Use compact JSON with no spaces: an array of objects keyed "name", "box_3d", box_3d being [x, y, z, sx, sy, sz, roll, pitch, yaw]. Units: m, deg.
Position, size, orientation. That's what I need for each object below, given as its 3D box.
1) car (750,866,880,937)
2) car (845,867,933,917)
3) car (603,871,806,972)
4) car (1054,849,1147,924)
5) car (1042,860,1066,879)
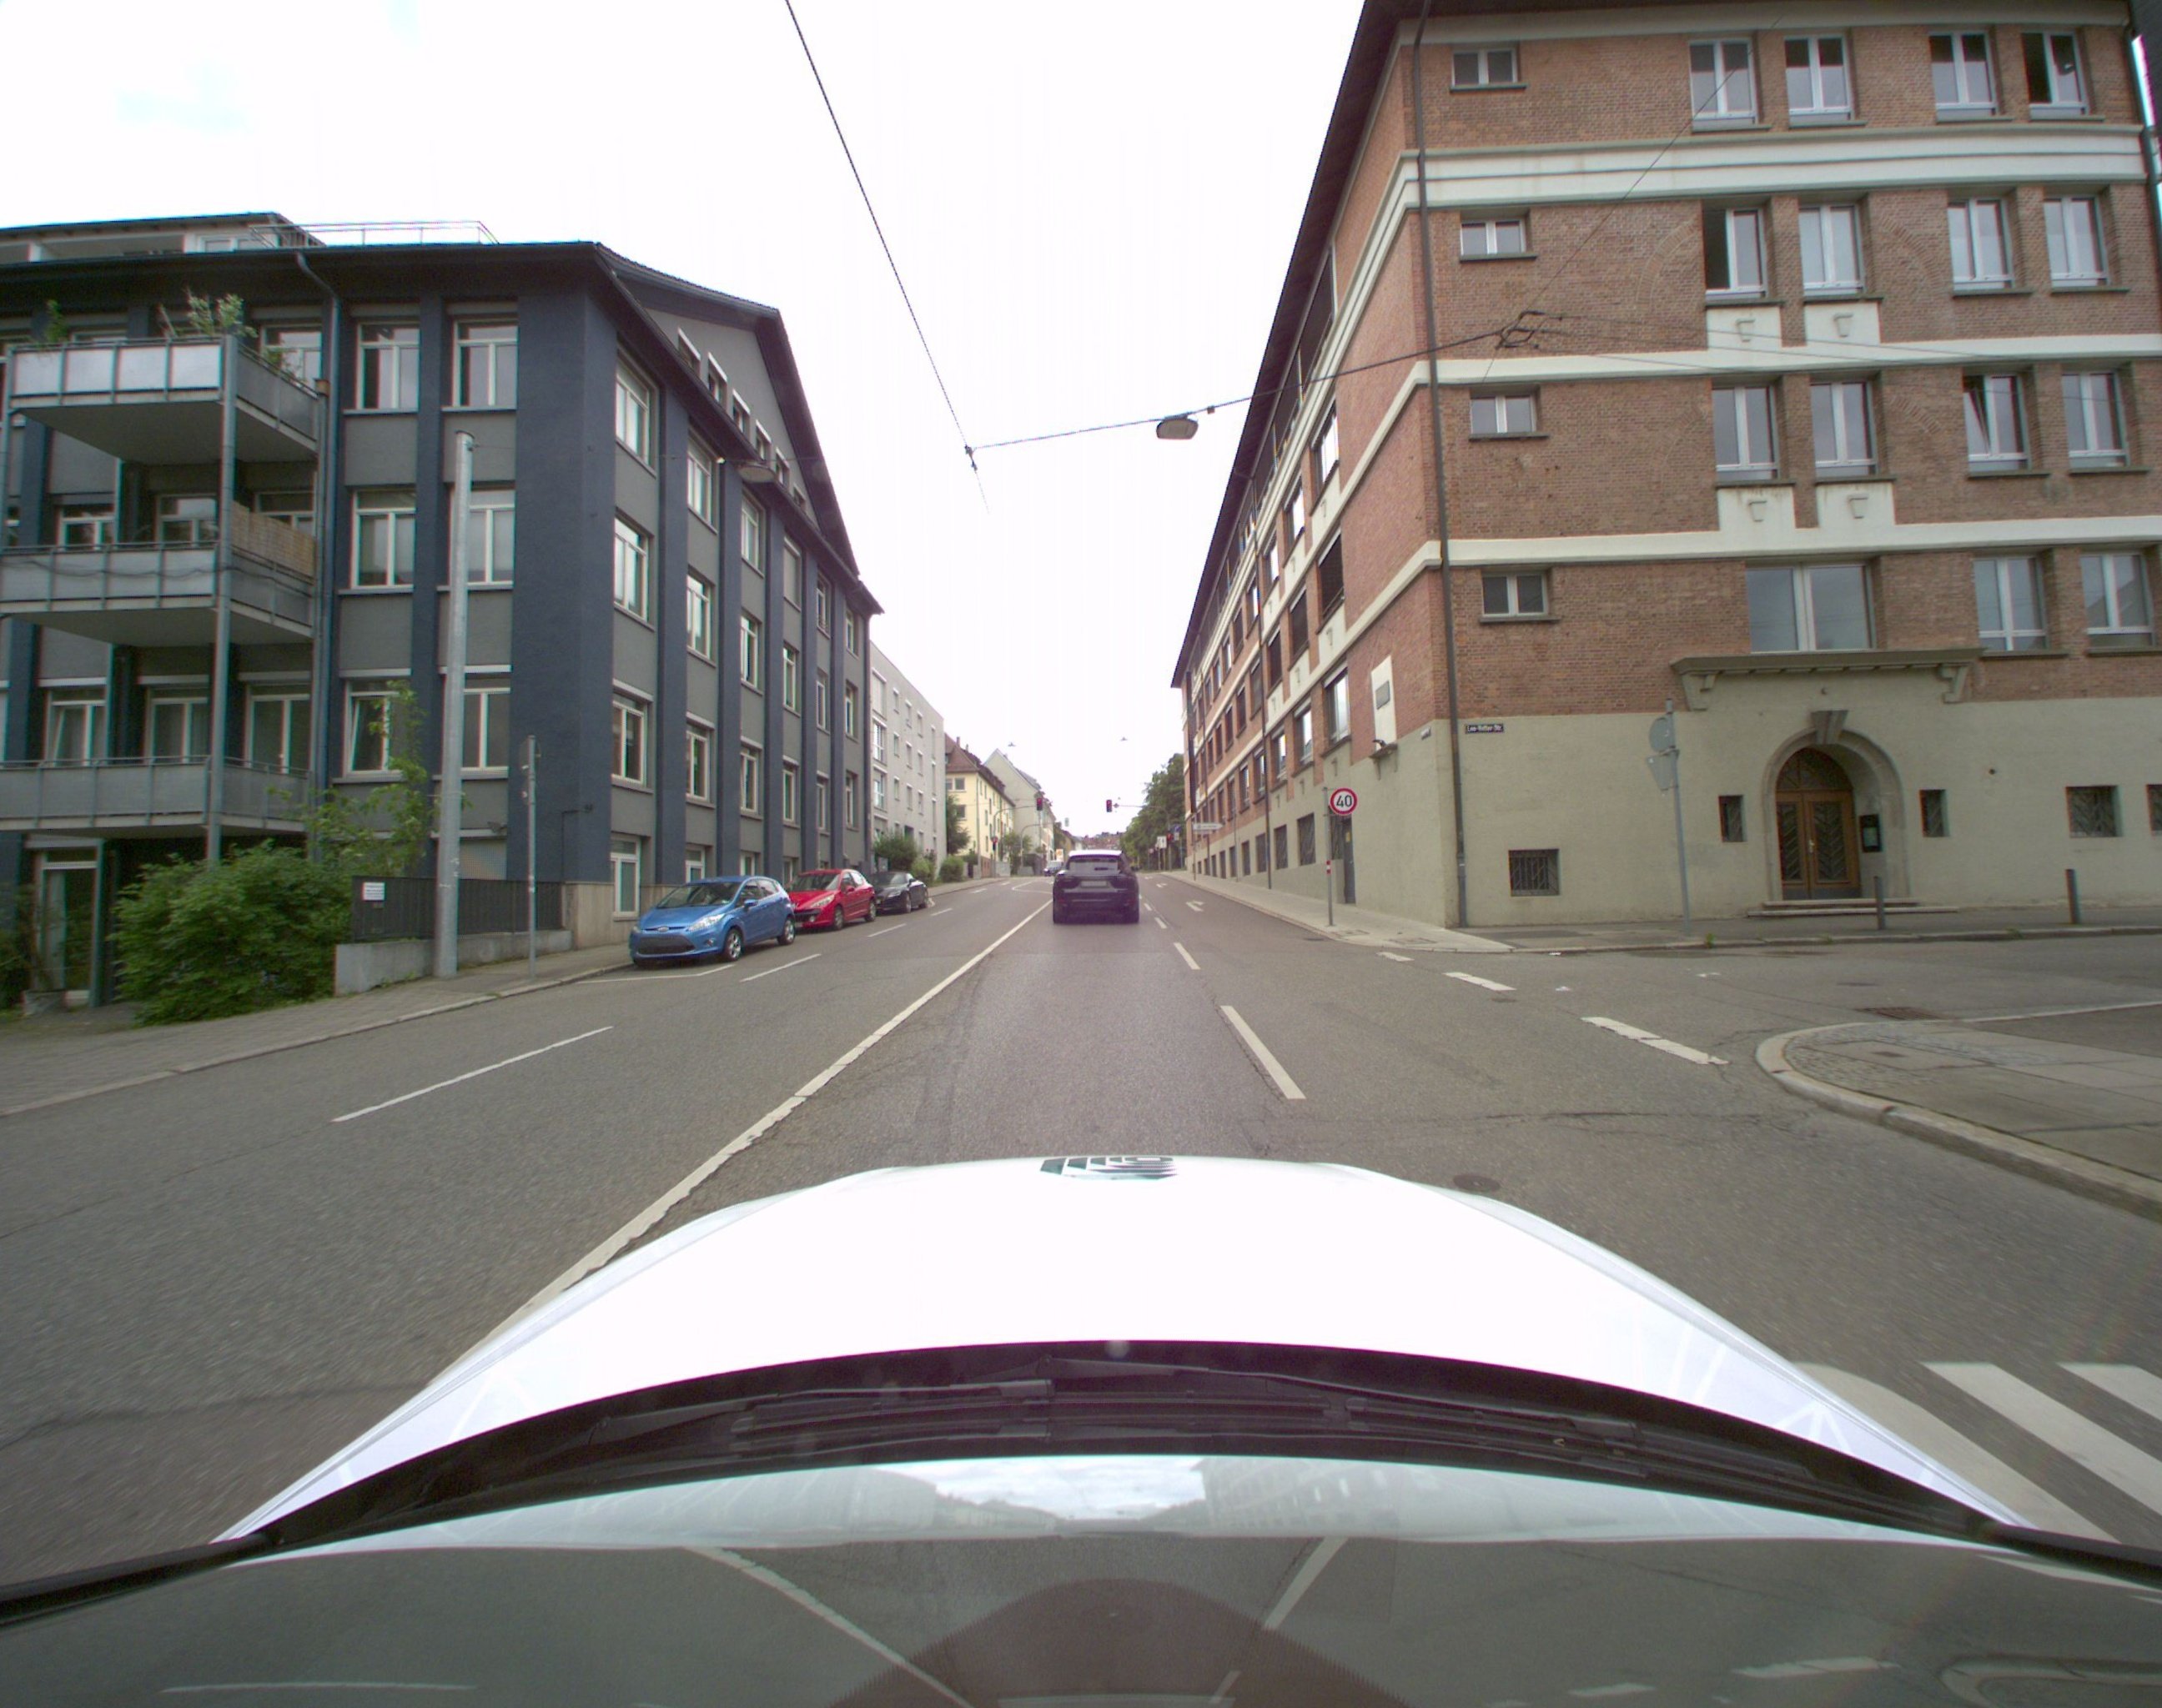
[{"name":"car","box_3d":[-6.547,1.121,20.533,1.707,1.456,3.992,-4,0,3]},{"name":"car","box_3d":[-6.094,1.175,26.251,1.708,1.341,3.906,-4,0,2]},{"name":"car","box_3d":[-6.722,1.128,15.057,1.708,1.423,3.991,-4,0,2]},{"name":"car","box_3d":[0.355,0.721,19.913,2.019,1.641,4.352,0,0,-2]},{"name":"car","box_3d":[-2.702,1.486,80.925,1.889,1.691,4.004,-4,0,3]}]
